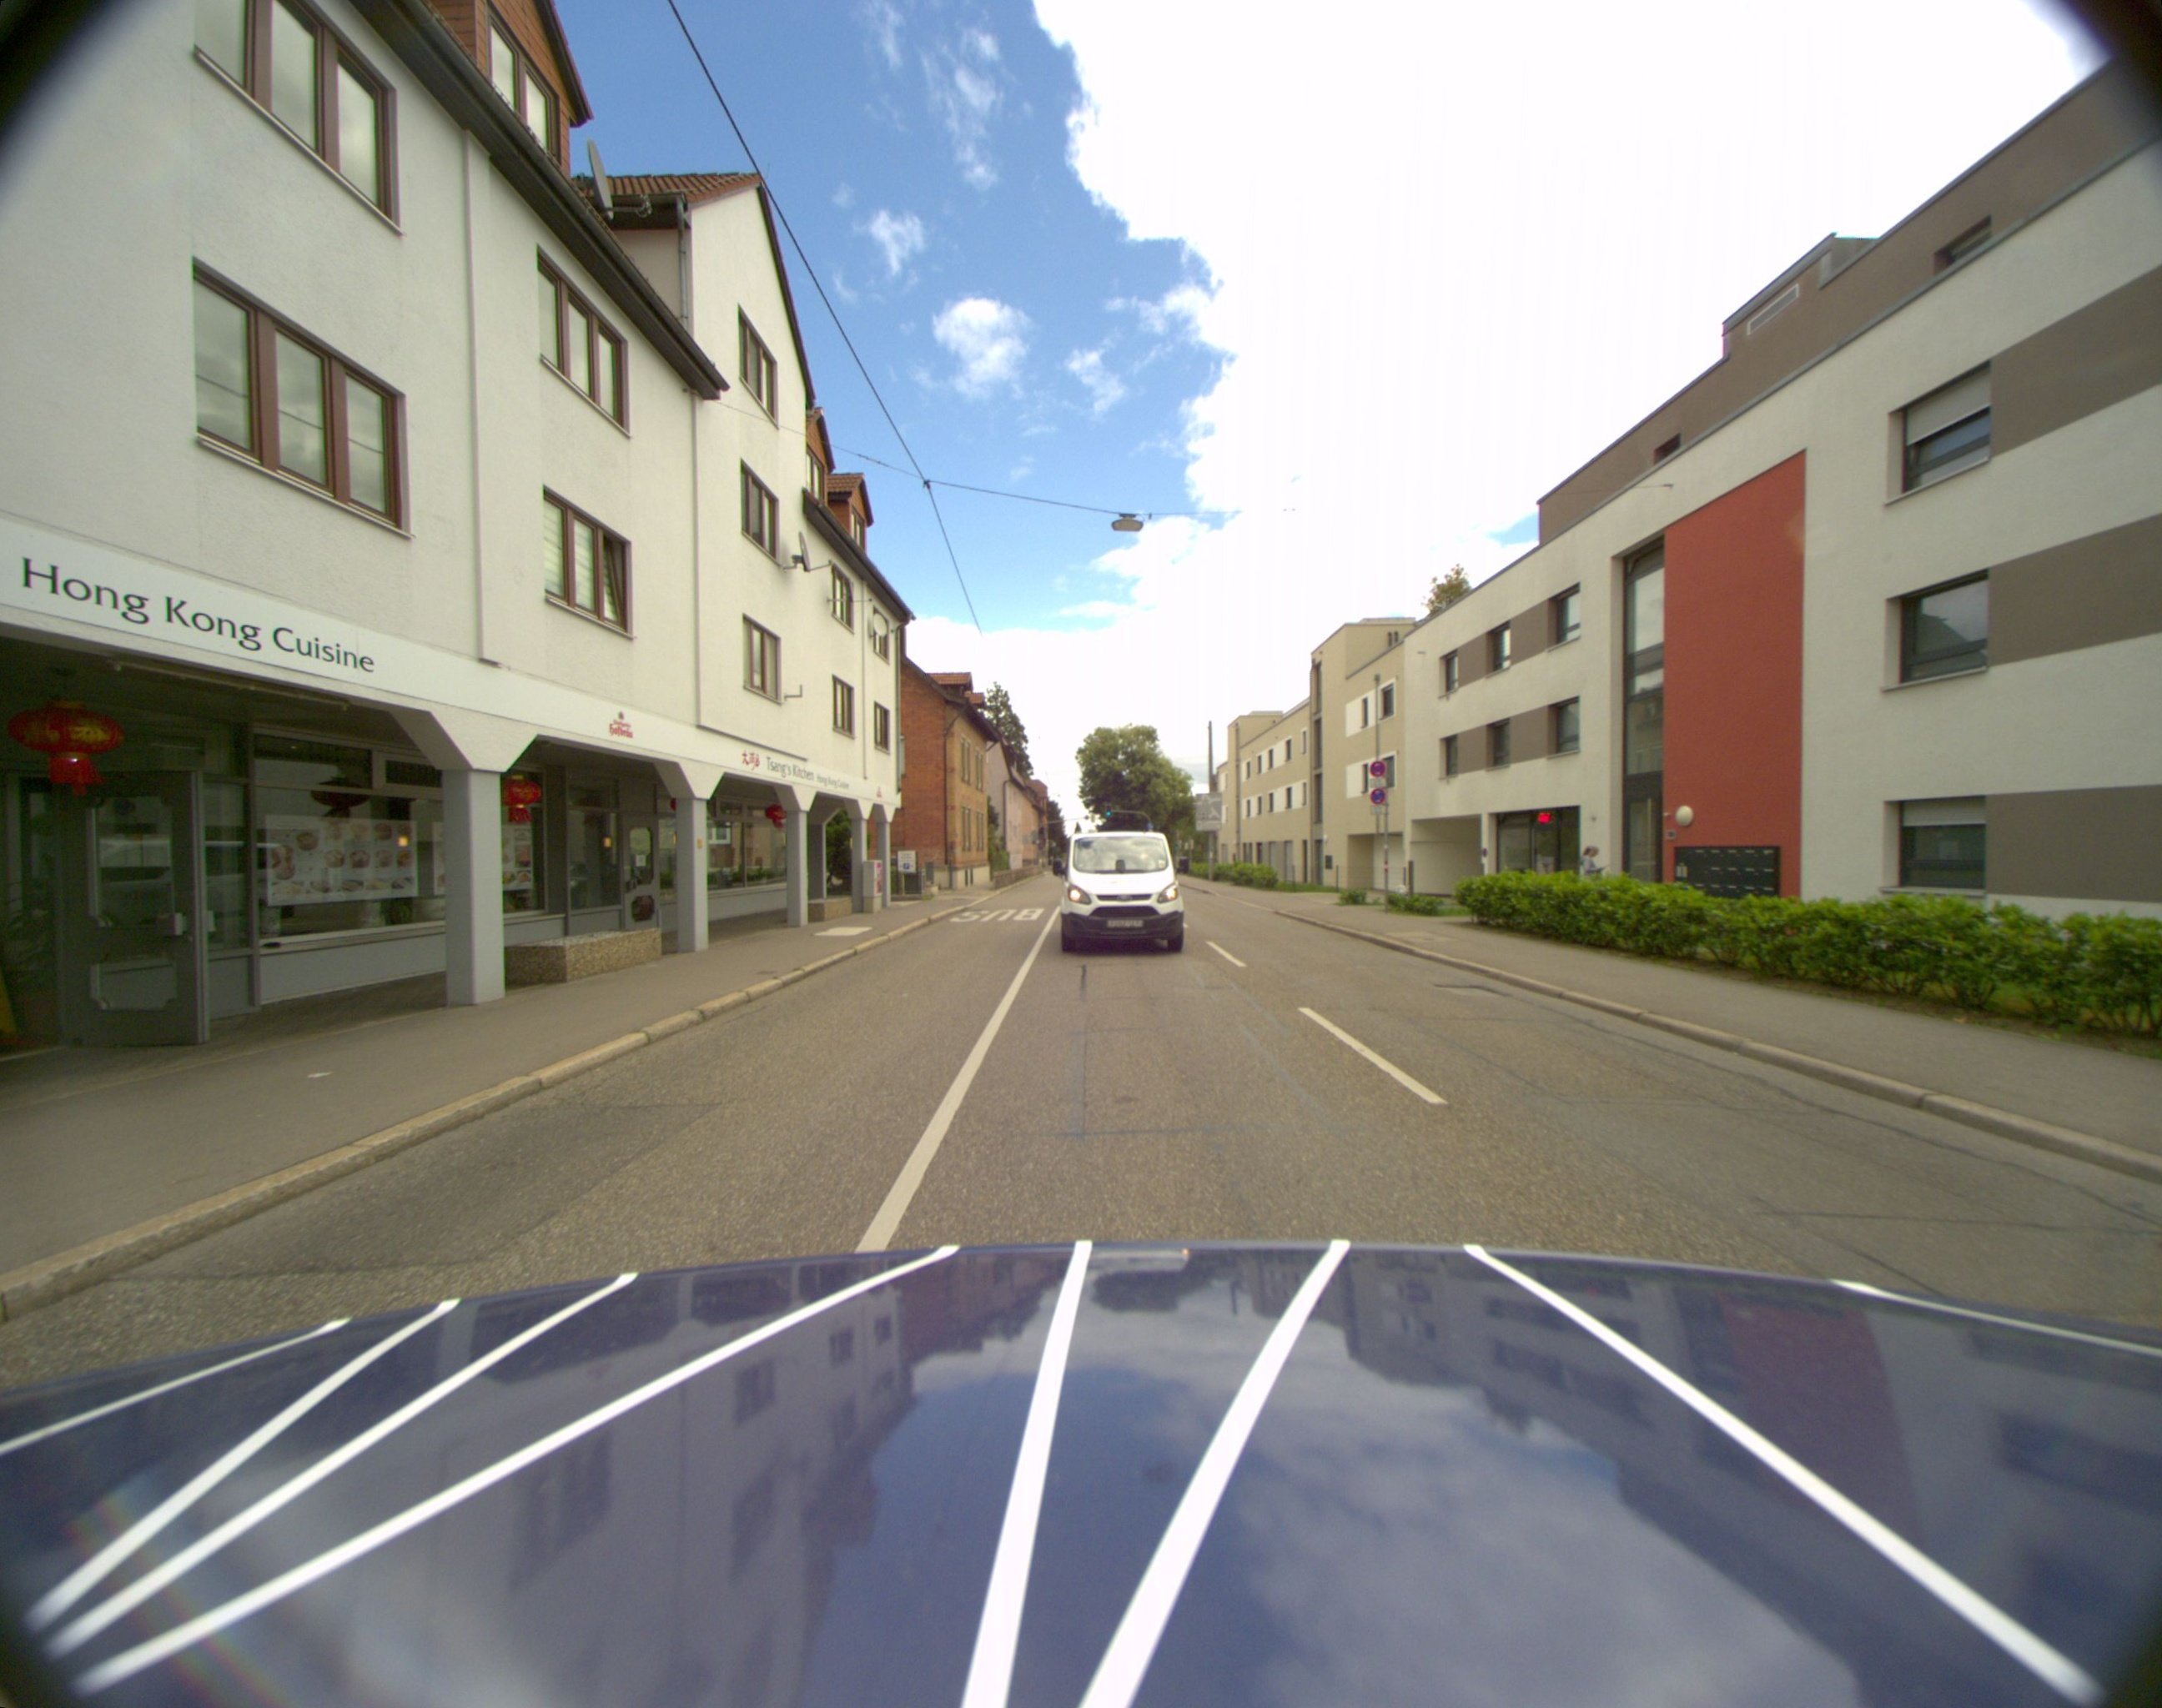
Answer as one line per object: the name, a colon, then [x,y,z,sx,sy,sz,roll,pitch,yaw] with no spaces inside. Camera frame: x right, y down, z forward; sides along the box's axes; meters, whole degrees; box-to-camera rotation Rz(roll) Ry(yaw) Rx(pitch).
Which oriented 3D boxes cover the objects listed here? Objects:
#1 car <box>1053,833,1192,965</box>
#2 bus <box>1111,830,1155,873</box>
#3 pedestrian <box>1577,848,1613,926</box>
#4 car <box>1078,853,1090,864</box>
car: [0.623,0.664,13.894,2.062,1.945,5.060,-1,0,0]
bus: [4.198,-0.189,63.419,2.950,3.255,12.008,1,0,1]
pedestrian: [11.076,0.701,16.386,0.519,1.633,0.641,0,1,23]
car: [0.407,0.601,108.090,1.755,1.485,3.986,-1,0,0]
